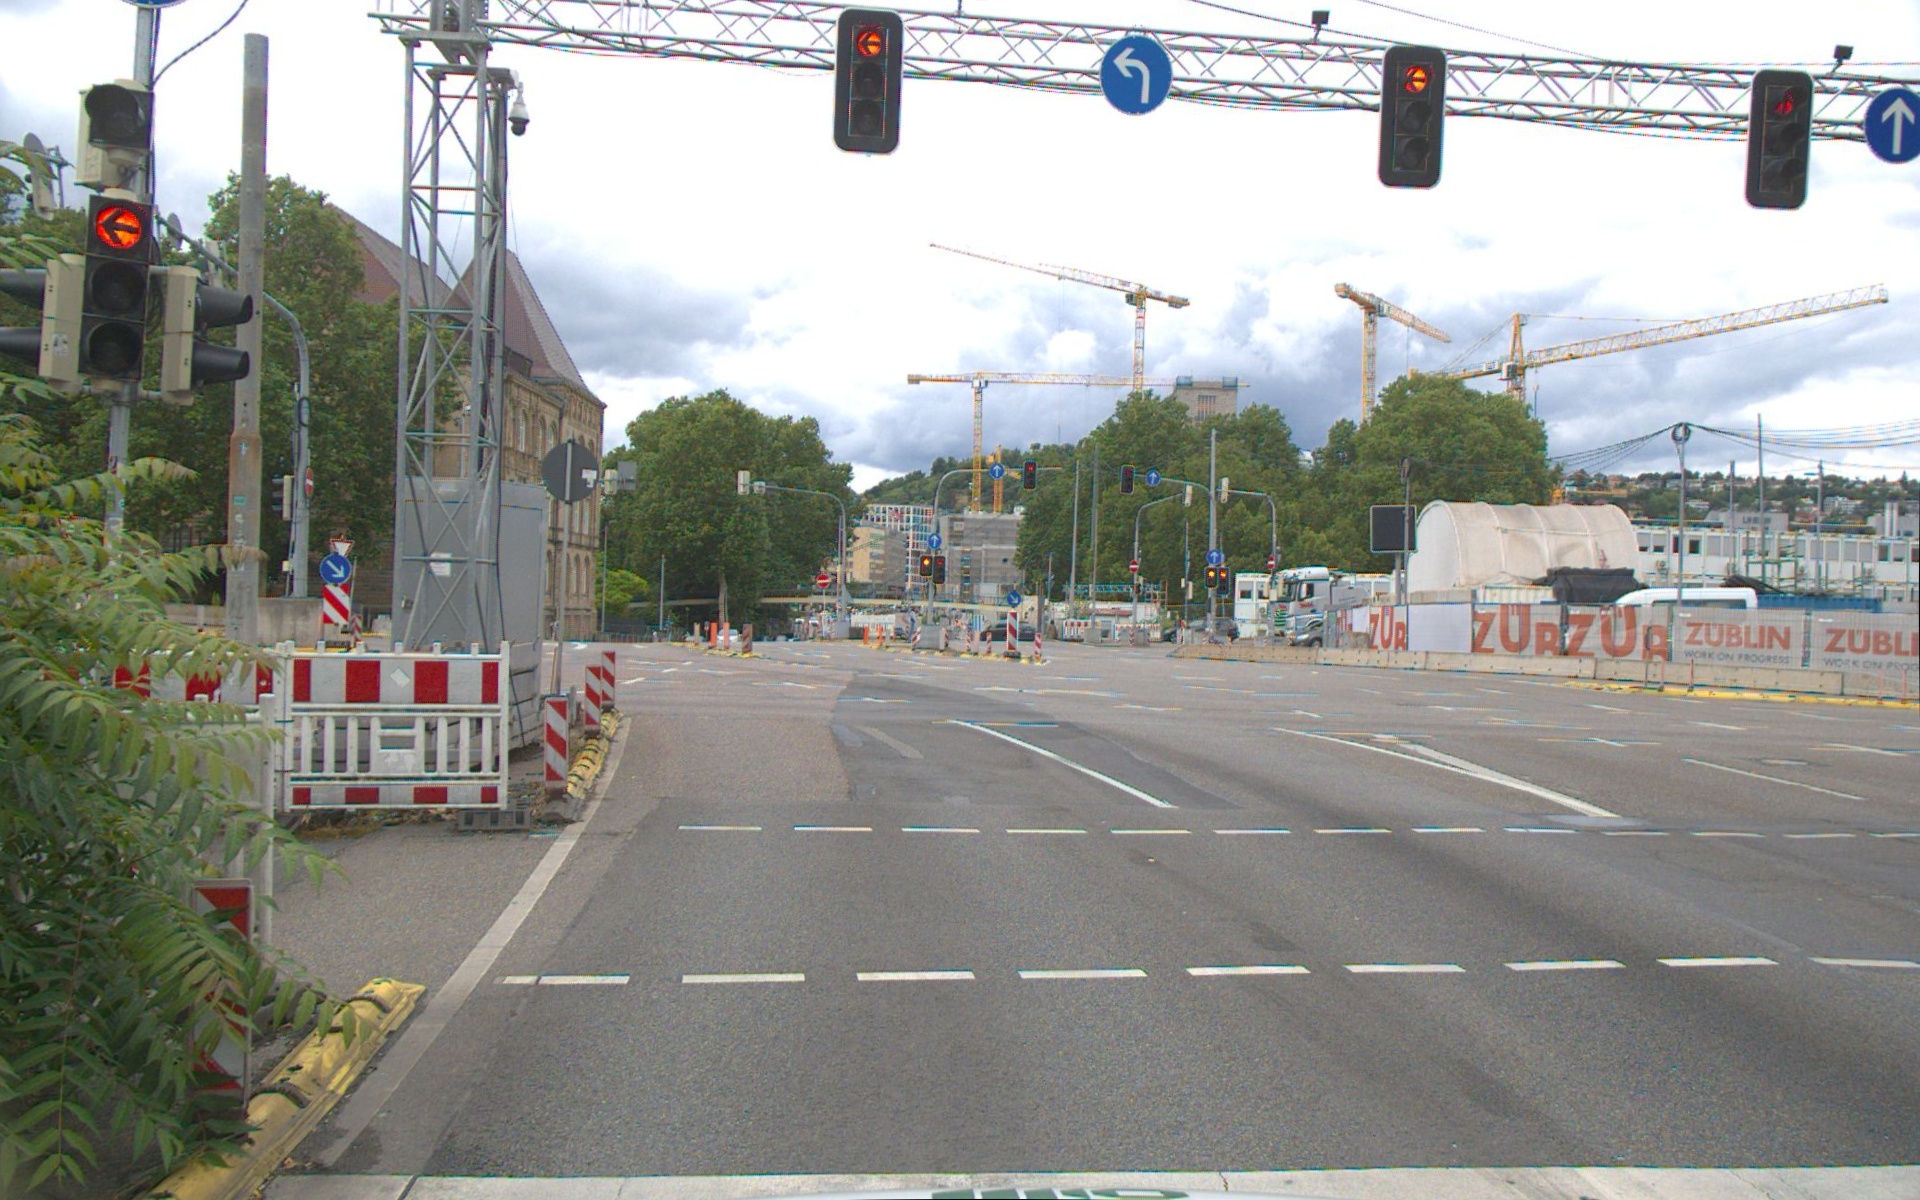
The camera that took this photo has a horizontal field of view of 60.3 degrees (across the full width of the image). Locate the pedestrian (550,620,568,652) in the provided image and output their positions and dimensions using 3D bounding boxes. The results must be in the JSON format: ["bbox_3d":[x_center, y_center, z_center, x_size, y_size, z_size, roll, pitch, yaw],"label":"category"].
[{"bbox_3d":[-26.141,2.335,107.770,0.930,2.049,0.766,1,-1,1],"label":"pedestrian"}]

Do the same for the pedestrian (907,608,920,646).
[{"bbox_3d":[-2.295,1.332,81.436,0.574,1.872,0.604,1,-1,-4],"label":"pedestrian"}]

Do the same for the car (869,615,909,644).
[{"bbox_3d":[-5.119,2.112,118.928,1.962,2.049,3.981,1,0,-17],"label":"car"}]

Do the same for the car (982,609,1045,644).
[{"bbox_3d":[3.196,1.596,99.790,1.971,2.049,4.238,1,0,-28],"label":"car"}]

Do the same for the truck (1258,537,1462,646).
[{"bbox_3d":[19.657,-0.364,81.291,9.565,5.047,3.097,1,0,-19],"label":"truck"}]

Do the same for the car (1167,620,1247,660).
[{"bbox_3d":[13.521,2.183,90.572,3.928,2.049,1.988,1,0,41],"label":"car"}]

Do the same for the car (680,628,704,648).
[{"bbox_3d":[-27.317,3.873,168.655,1.954,1.870,3.997,1,0,-3],"label":"car"}]

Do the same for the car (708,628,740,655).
[{"bbox_3d":[-17.452,3.031,122.410,1.954,1.870,3.997,1,0,-3],"label":"car"}]

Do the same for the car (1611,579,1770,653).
[{"bbox_3d":[21.054,0.449,47.820,3.902,2.049,2.001,1,0,15],"label":"car"}]
